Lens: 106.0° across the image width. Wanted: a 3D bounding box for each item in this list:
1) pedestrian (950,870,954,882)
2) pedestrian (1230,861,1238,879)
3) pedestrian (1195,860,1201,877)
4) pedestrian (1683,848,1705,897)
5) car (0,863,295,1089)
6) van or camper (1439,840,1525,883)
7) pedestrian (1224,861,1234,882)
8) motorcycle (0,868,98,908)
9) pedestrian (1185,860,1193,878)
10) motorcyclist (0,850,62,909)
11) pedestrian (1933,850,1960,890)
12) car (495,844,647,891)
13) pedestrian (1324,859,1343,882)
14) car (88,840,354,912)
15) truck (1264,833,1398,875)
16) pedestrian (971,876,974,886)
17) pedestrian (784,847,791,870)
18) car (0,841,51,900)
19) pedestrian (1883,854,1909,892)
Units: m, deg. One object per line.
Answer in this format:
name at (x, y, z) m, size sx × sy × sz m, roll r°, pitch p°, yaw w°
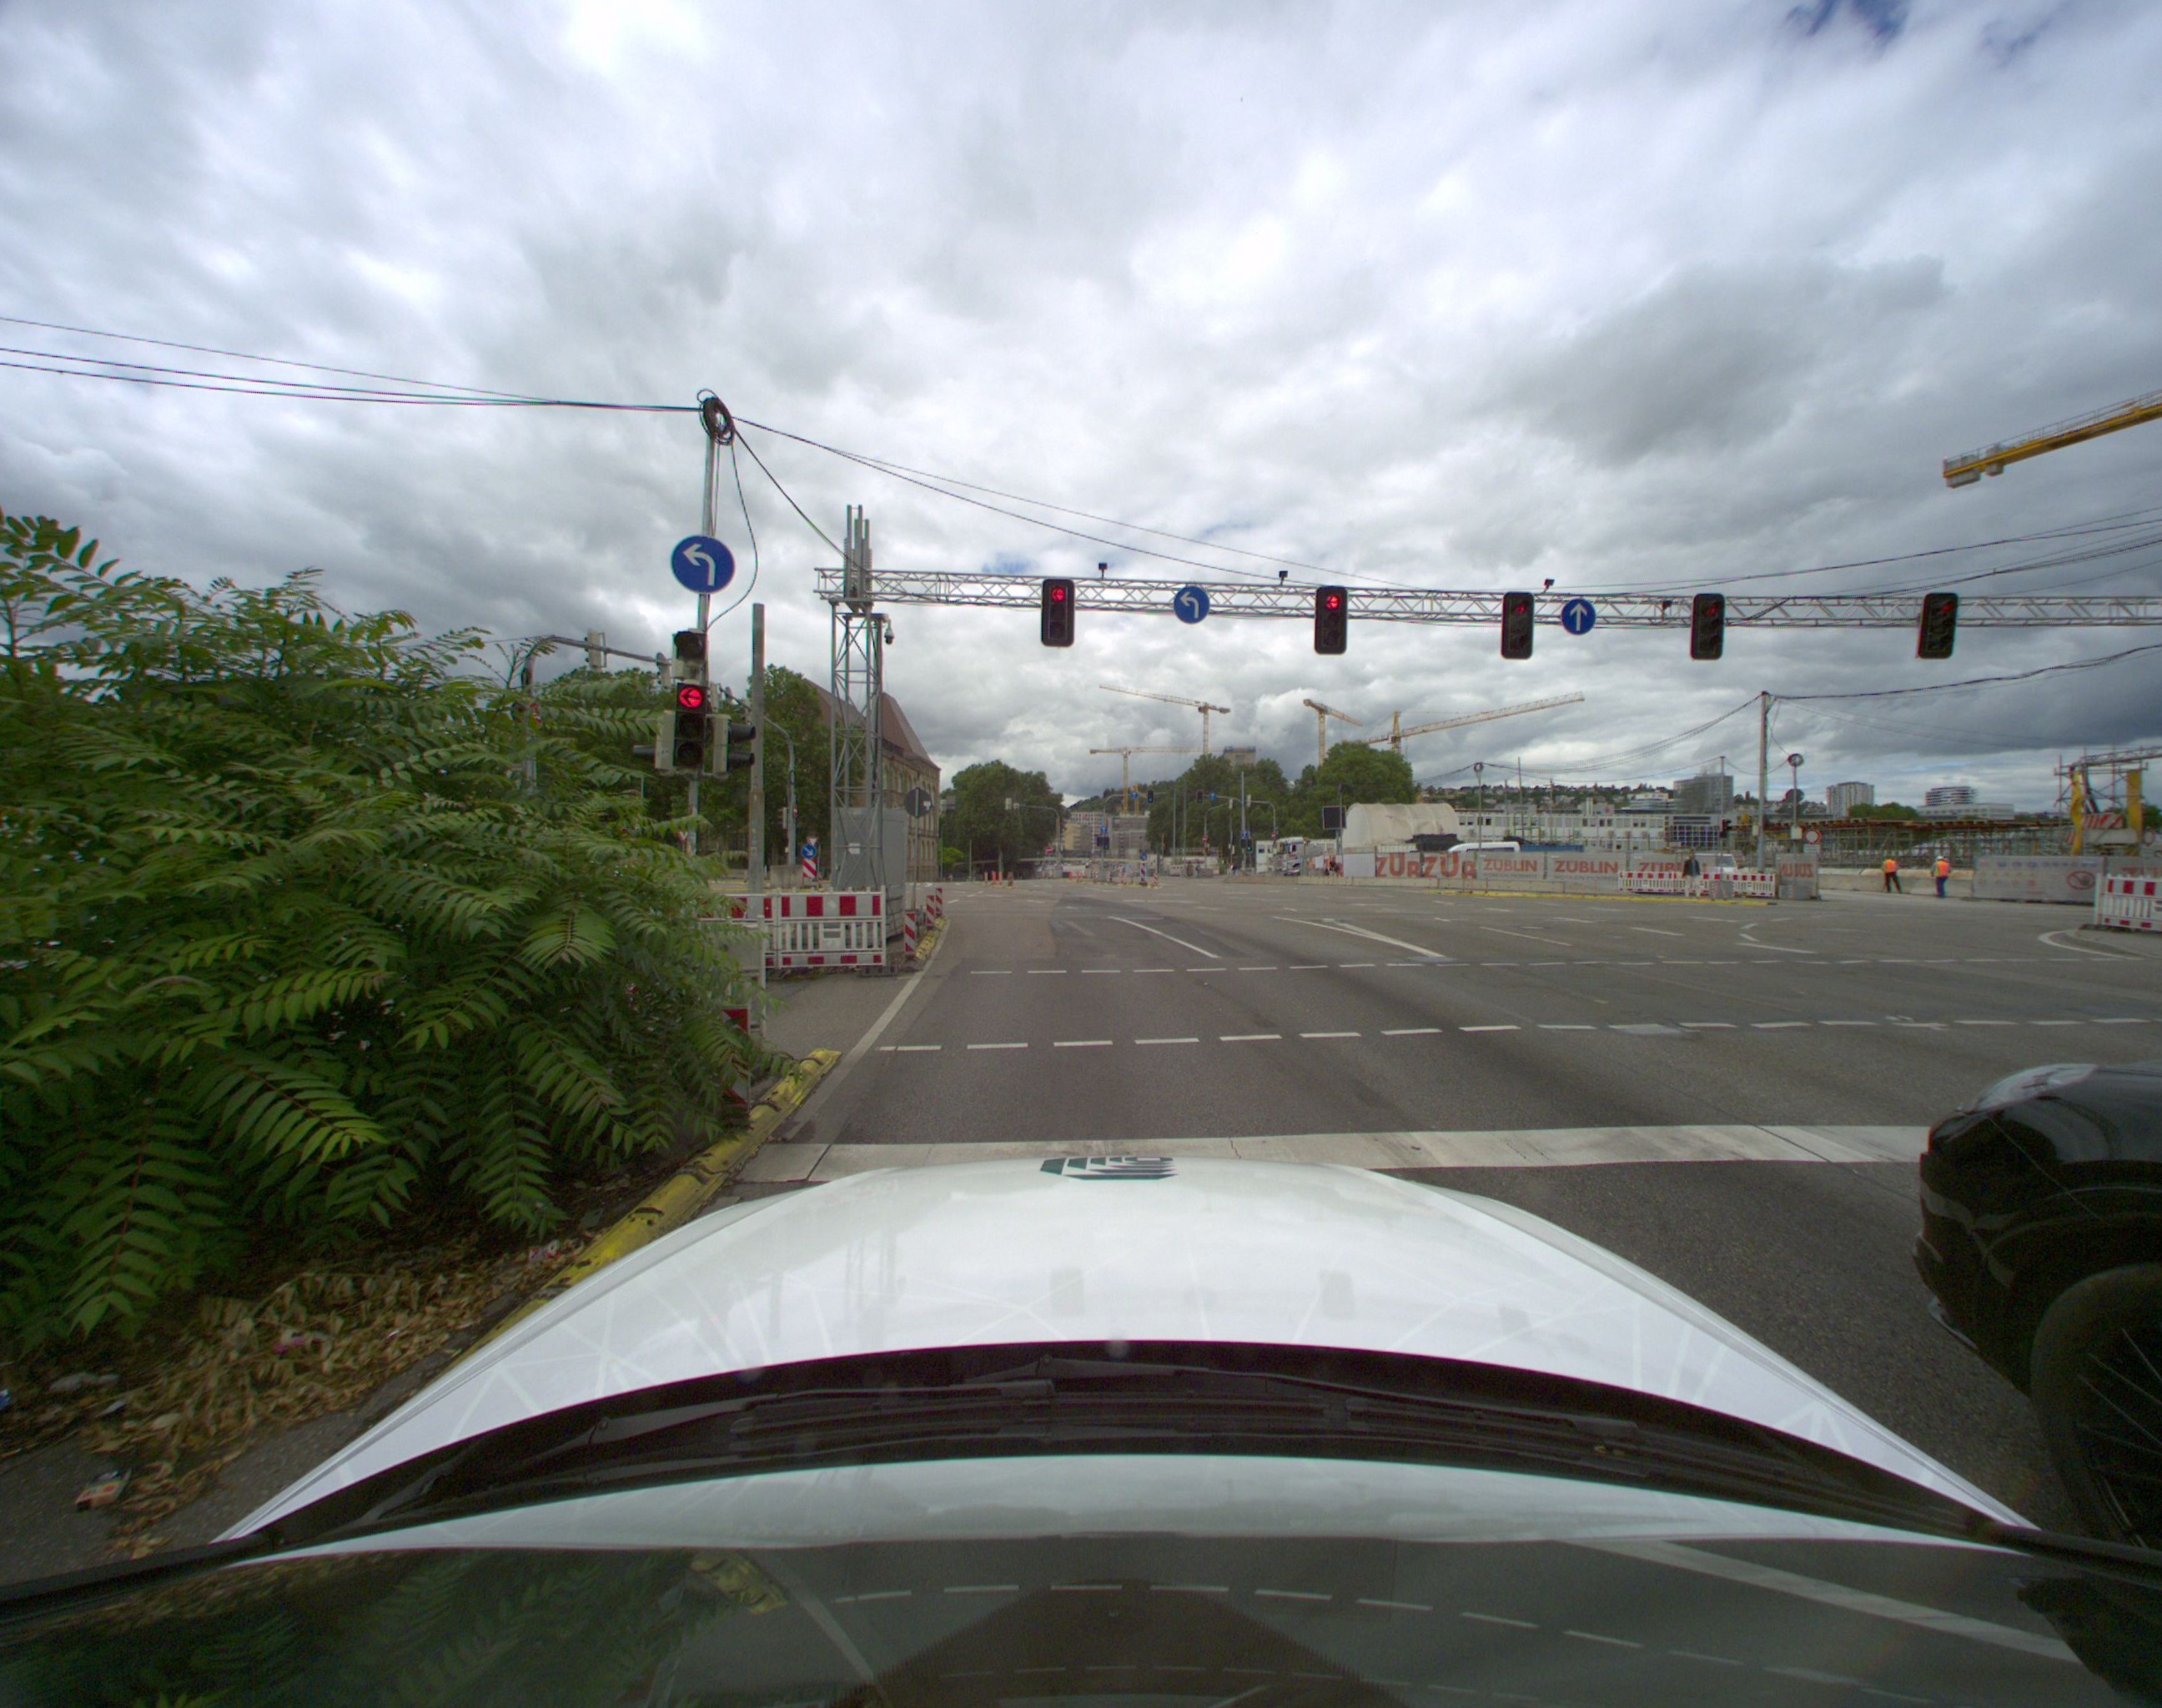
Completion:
pedestrian at (-21.022, 3.590, 132.664) m, size 0.522 × 2.014 × 0.567 m, roll 0°, pitch 0°, yaw 2°
pedestrian at (14.958, 1.572, 79.679) m, size 0.615 × 1.689 × 0.716 m, roll 0°, pitch 0°, yaw 31°
pedestrian at (11.352, 1.423, 78.951) m, size 0.564 × 1.689 × 0.472 m, roll 0°, pitch 0°, yaw 1°
pedestrian at (25.524, 0.756, 33.891) m, size 0.645 × 2.013 × 0.520 m, roll 0°, pitch 0°, yaw 27°
car at (-7.958, 0.806, 5.028) m, size 1.695 × 1.471 × 4.629 m, roll 0°, pitch 0°, yaw 0°
van or camper at (23.149, 0.421, 47.203) m, size 4.181 × 2.357 × 2.009 m, roll 0°, pitch 0°, yaw 16°
pedestrian at (12.250, 1.458, 67.382) m, size 0.726 × 1.689 × 0.678 m, roll 0°, pitch 0°, yaw 1°
motorcycle at (-25.474, 0.821, 19.812) m, size 2.051 × 0.924 × 0.756 m, roll 0°, pitch 0°, yaw -4°
pedestrian at (10.444, 1.416, 78.638) m, size 0.726 × 1.689 × 0.678 m, roll 0°, pitch 0°, yaw 1°
motorcyclist at (-25.741, 0.609, 19.789) m, size 0.963 × 1.423 × 0.745 m, roll 0°, pitch 0°, yaw -4°
pedestrian at (37.902, 0.689, 35.673) m, size 0.651 × 1.717 × 0.516 m, roll 0°, pitch 0°, yaw -9°
car at (-18.821, 0.495, 30.250) m, size 4.315 × 1.676 × 1.992 m, roll 0°, pitch 0°, yaw -12°
pedestrian at (15.876, 1.036, 51.243) m, size 0.798 × 1.378 × 0.900 m, roll 0°, pitch 0°, yaw -16°
car at (-21.214, 0.520, 20.259) m, size 4.302 × 1.676 × 1.998 m, roll 0°, pitch 0°, yaw -3°
truck at (25.035, -0.028, 81.590) m, size 13.062 × 4.041 × 3.926 m, roll 0°, pitch 0°, yaw -18°
pedestrian at (-21.233, 5.253, 159.107) m, size 0.522 × 2.014 × 0.567 m, roll 0°, pitch 0°, yaw 2°
pedestrian at (-26.723, 0.414, 74.113) m, size 0.530 × 2.014 × 0.423 m, roll 1°, pitch -1°, yaw -42°
car at (-33.044, 0.467, 23.330) m, size 4.302 × 1.676 × 1.998 m, roll 0°, pitch 0°, yaw -3°
pedestrian at (38.880, 0.884, 38.869) m, size 0.651 × 1.795 × 0.617 m, roll 0°, pitch 0°, yaw -7°
